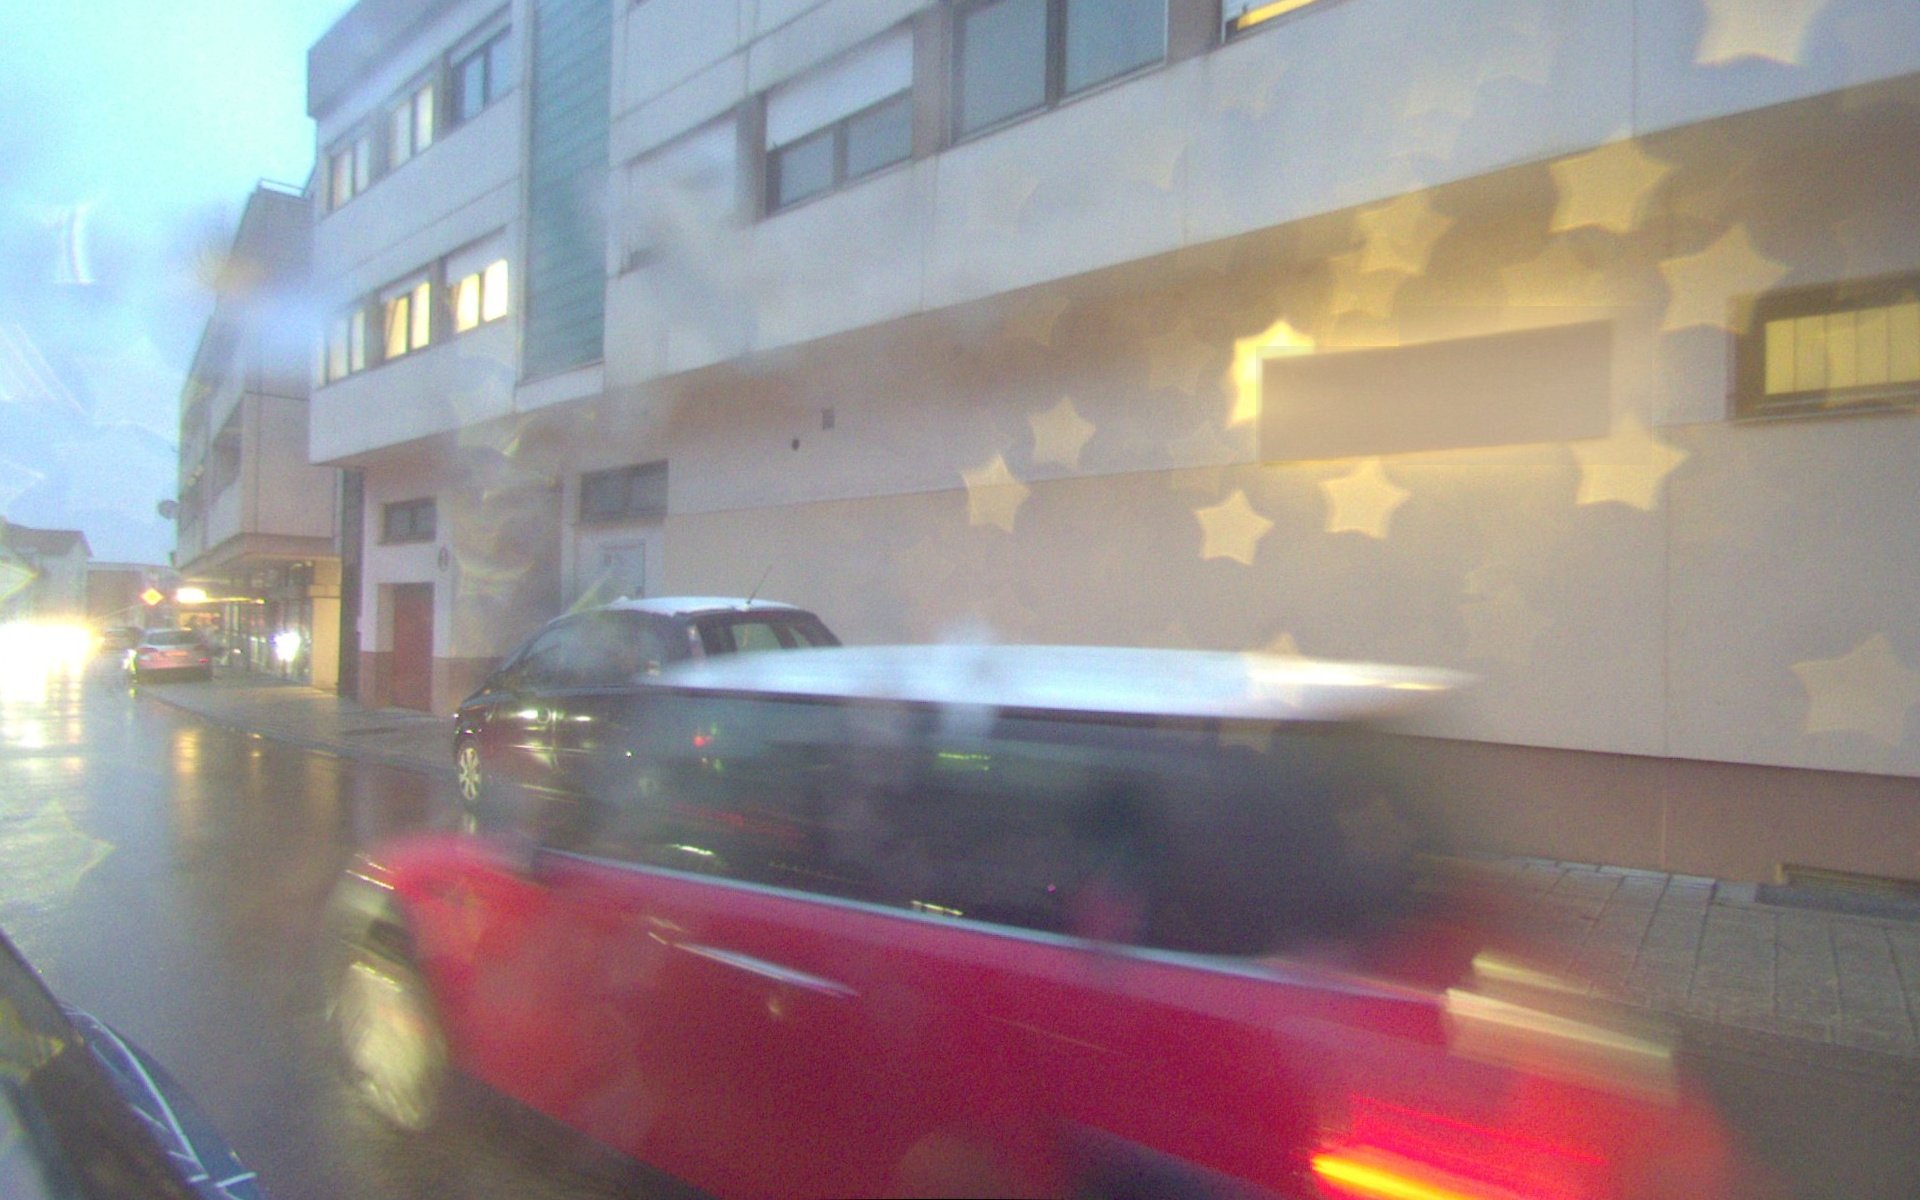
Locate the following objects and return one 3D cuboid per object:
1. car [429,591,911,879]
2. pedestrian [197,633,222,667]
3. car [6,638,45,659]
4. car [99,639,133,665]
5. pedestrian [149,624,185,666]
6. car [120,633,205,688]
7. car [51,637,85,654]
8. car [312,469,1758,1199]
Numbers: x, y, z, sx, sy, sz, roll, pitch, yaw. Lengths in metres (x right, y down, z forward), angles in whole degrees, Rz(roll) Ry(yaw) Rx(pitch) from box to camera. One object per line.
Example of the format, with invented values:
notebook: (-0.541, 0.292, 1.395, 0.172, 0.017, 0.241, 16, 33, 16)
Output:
car: (-2.369, 0.821, 7.764, 3.810, 1.655, 1.775, -2, -1, 41)
pedestrian: (-30.312, 2.013, 40.865, 0.746, 1.320, 0.829, 0, -2, -43)
car: (-72.474, 3.753, 78.521, 1.770, 1.522, 4.009, 4, -4, -37)
car: (-56.639, 3.438, 67.920, 1.699, 1.626, 3.822, -1, -1, -40)
pedestrian: (-36.834, 2.085, 47.010, 1.182, 1.953, 0.979, 2, -3, -33)
car: (-23.331, 1.717, 29.550, 1.655, 1.457, 4.433, 1, -2, -42)
car: (-84.417, 4.299, 95.830, 1.770, 1.522, 4.011, 3, -4, -33)
car: (-0.133, 0.702, 2.609, 3.403, 1.547, 1.622, -2, -2, 39)
